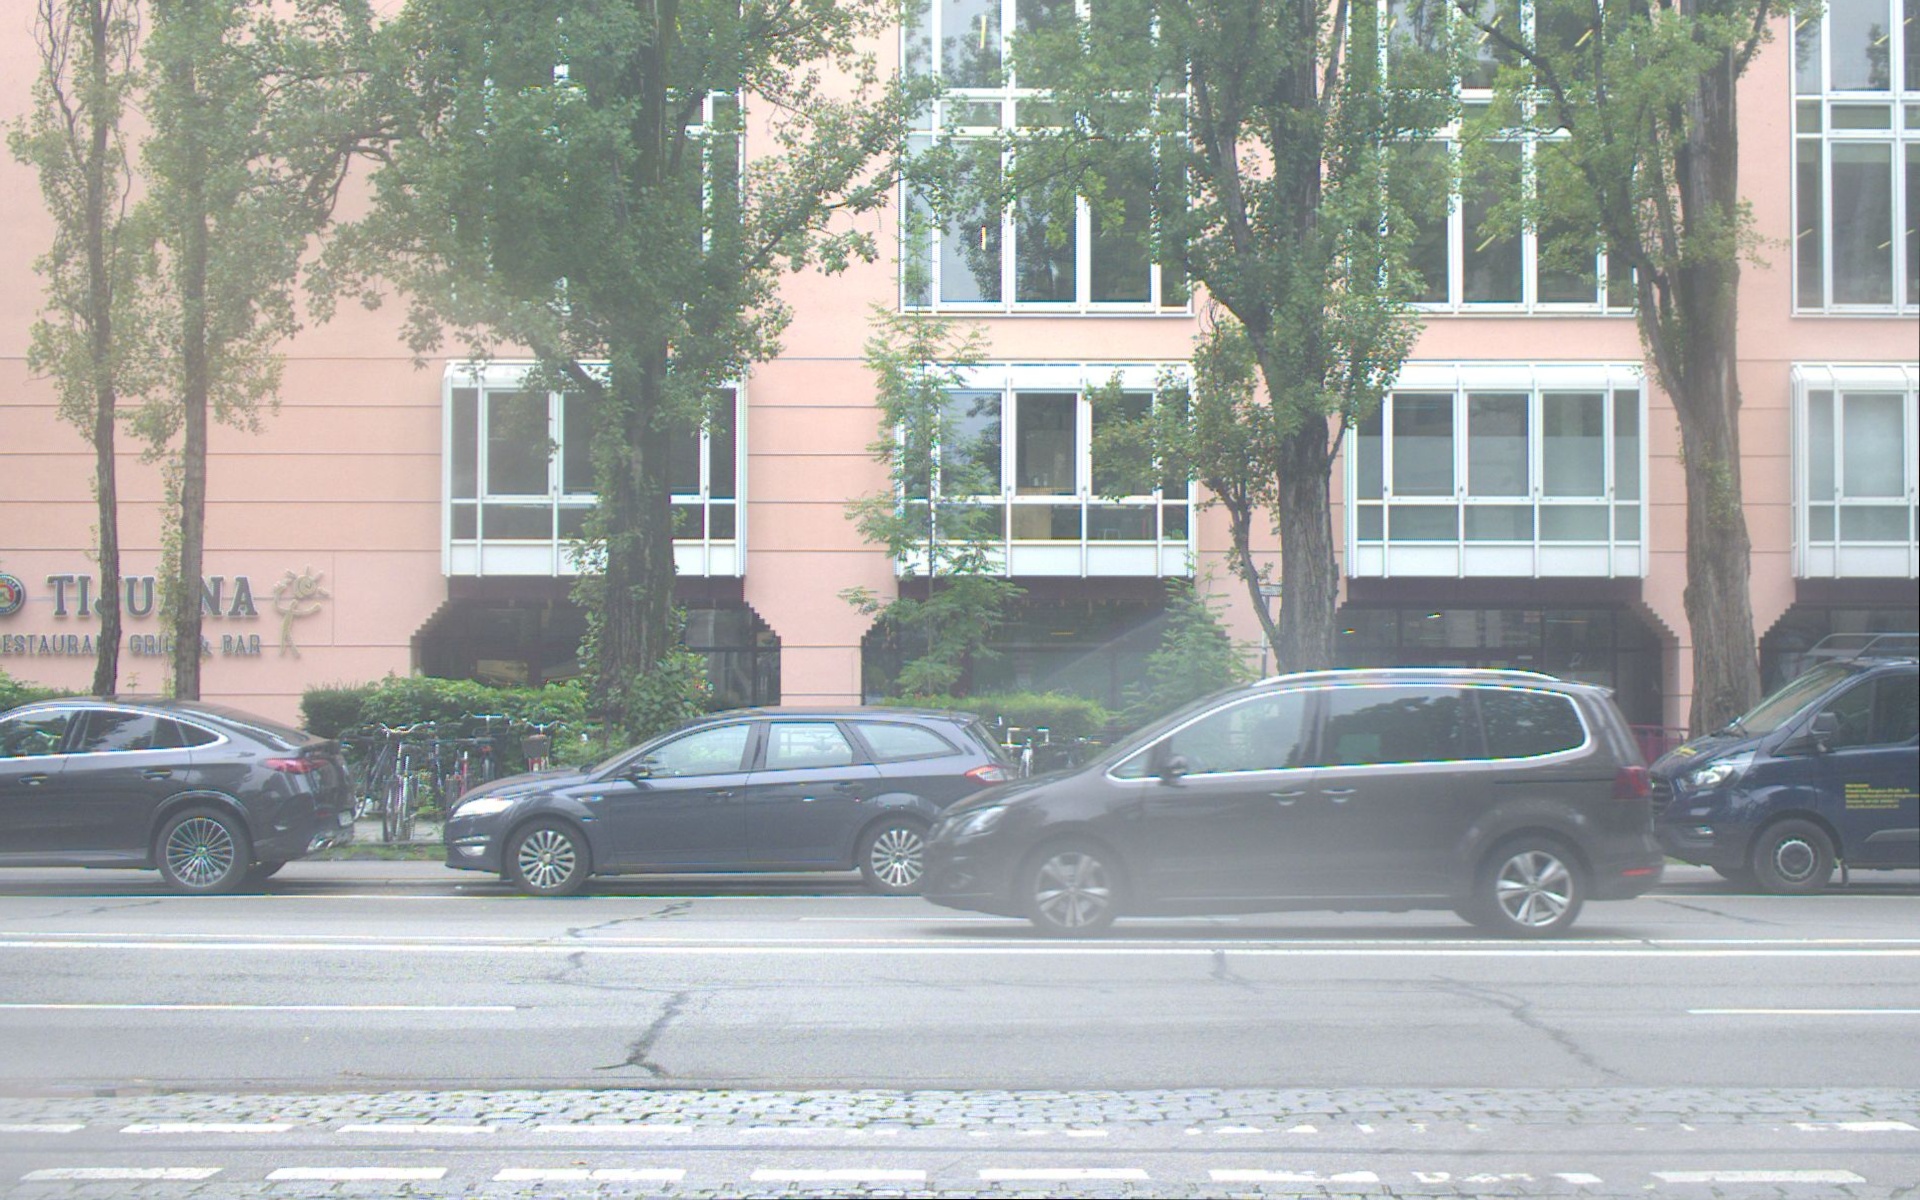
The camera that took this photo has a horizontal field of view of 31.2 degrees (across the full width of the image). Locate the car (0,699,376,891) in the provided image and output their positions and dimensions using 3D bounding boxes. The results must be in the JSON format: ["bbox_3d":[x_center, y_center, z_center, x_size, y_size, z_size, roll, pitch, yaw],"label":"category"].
[{"bbox_3d":[-7.265,1.595,28.616,4.499,1.524,1.793,0,-1,0],"label":"car"}]

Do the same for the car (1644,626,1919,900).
[{"bbox_3d":[8.637,1.335,28.596,5.479,2.190,2.023,0,-1,0],"label":"car"}]

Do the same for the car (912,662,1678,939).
[{"bbox_3d":[2.107,1.301,22.582,4.799,1.716,2.000,0,-3,0],"label":"car"}]

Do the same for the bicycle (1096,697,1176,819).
[{"bbox_3d":[1.665,1.488,32.761,0.674,1.121,1.741,0,-1,0],"label":"bicycle"}]

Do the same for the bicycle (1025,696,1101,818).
[{"bbox_3d":[0.970,1.480,32.790,0.674,1.121,1.741,0,-1,0],"label":"bicycle"}]

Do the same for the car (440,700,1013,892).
[{"bbox_3d":[-1.883,1.602,28.594,4.608,1.524,1.793,0,-1,0],"label":"car"}]

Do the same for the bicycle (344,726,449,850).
[{"bbox_3d":[-5.376,1.779,32.884,0.674,1.121,1.989,0,-1,0],"label":"bicycle"}]

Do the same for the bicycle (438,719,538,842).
[{"bbox_3d":[-4.519,1.712,33.025,0.674,1.121,1.989,0,-1,0],"label":"bicycle"}]
